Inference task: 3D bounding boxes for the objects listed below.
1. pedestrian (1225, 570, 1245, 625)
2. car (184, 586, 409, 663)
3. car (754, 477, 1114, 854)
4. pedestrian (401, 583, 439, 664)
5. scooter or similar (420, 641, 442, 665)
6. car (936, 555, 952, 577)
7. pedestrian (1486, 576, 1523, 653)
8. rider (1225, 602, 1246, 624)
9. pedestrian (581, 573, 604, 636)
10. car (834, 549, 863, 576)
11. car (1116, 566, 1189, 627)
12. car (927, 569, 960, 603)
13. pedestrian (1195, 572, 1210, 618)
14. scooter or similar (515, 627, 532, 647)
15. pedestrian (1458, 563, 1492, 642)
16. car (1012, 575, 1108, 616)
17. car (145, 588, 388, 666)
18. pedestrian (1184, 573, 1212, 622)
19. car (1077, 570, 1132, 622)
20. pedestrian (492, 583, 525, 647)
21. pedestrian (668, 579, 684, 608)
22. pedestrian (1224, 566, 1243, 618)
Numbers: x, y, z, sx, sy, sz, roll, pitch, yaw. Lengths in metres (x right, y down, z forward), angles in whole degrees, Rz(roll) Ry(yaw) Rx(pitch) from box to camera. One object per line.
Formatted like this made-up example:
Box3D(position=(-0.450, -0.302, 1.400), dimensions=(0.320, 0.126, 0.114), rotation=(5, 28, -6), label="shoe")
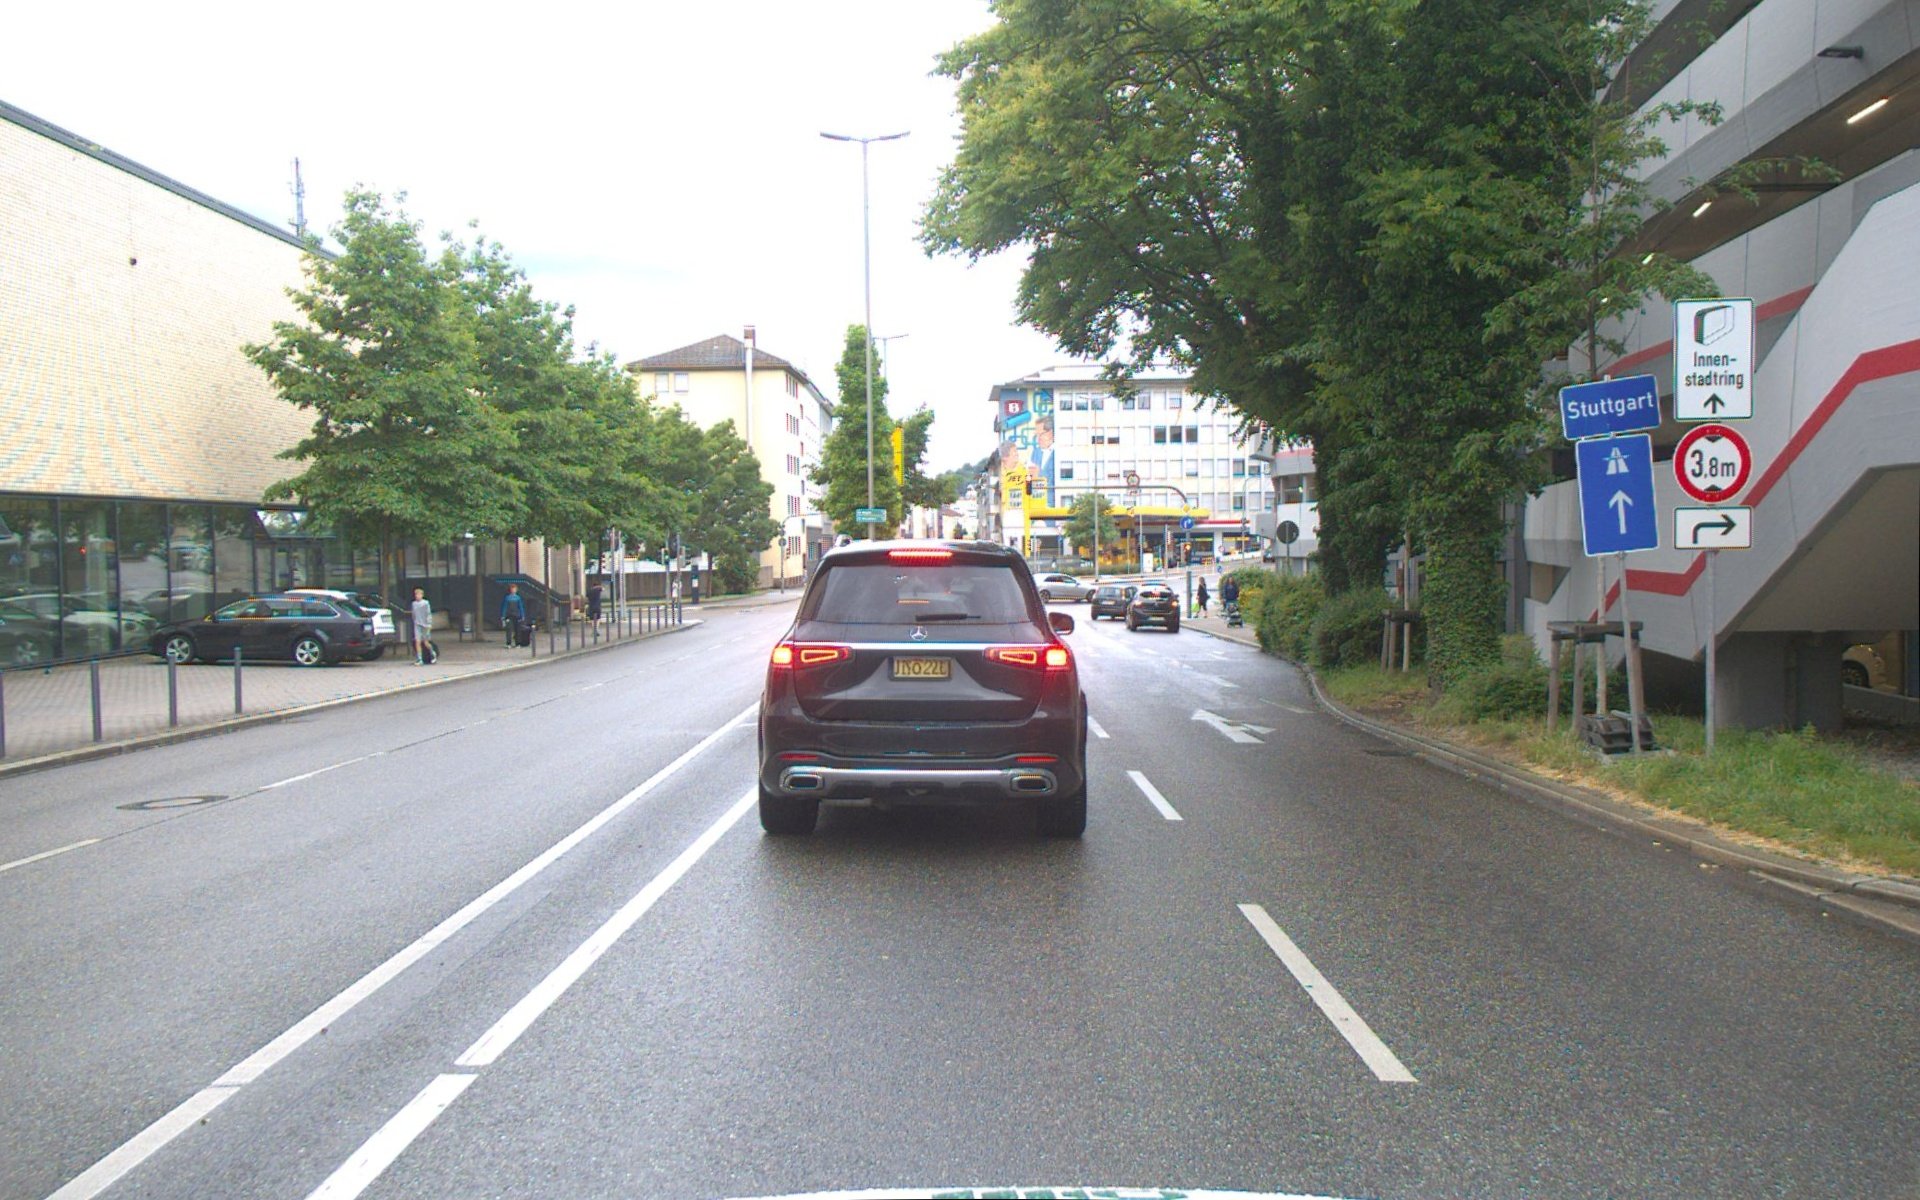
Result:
Box3D(position=(9.756, -0.091, 58.638), dimensions=(0.648, 1.951, 0.729), rotation=(1, 1, 8), label="pedestrian")
Box3D(position=(-14.926, 0.544, 37.431), dimensions=(4.331, 1.601, 1.998), rotation=(1, 2, -7), label="car")
Box3D(position=(-0.181, 0.372, 11.142), dimensions=(1.953, 2.049, 3.999), rotation=(1, 0, -1), label="car")
Box3D(position=(-11.829, 0.506, 36.227), dimensions=(0.662, 1.726, 0.479), rotation=(1, 3, 0), label="pedestrian")
Box3D(position=(-11.727, 1.181, 36.670), dimensions=(0.274, 0.509, 0.616), rotation=(1, 0, 1), label="scooter or similar")
Box3D(position=(-2.066, -4.338, 207.957), dimensions=(1.953, 2.045, 4.007), rotation=(1, 11, -1), label="car")
Box3D(position=(10.880, 0.285, 33.044), dimensions=(0.569, 1.527, 0.504), rotation=(1, -1, 4), label="pedestrian")
Box3D(position=(9.642, 0.471, 57.943), dimensions=(0.679, 0.753, 0.633), rotation=(1, 0, 8), label="rider")
Box3D(position=(-12.103, 0.152, 54.431), dimensions=(0.576, 2.049, 0.749), rotation=(1, -1, -2), label="pedestrian")
Box3D(position=(-8.415, -2.806, 125.362), dimensions=(1.953, 1.908, 5.140), rotation=(1, 0, -2), label="car")
Box3D(position=(6.673, -0.143, 57.759), dimensions=(1.953, 2.049, 3.999), rotation=(0, 1, -2), label="car")
Box3D(position=(-1.053, -0.854, 104.180), dimensions=(1.953, 2.049, 3.998), rotation=(1, 0, -3), label="car")
Box3D(position=(10.224, -0.208, 69.698), dimensions=(0.509, 1.944, 0.556), rotation=(1, -1, 0), label="pedestrian")
Box3D(position=(-12.159, 1.034, 46.077), dimensions=(0.352, 0.545, 0.499), rotation=(1, -1, -1), label="scooter or similar")
Box3D(position=(10.312, 0.059, 33.116), dimensions=(0.539, 1.559, 0.488), rotation=(1, -1, 6), label="pedestrian")
Box3D(position=(5.166, -0.241, 85.714), dimensions=(4.714, 2.049, 1.997), rotation=(-1, 1, -8), label="car")
Box3D(position=(-14.725, 0.555, 35.344), dimensions=(4.382, 1.615, 1.997), rotation=(0, 0, -7), label="car")
Box3D(position=(10.077, -0.112, 70.162), dimensions=(1.004, 2.049, 0.999), rotation=(1, 0, -1), label="pedestrian")
Box3D(position=(5.997, -0.150, 69.247), dimensions=(1.952, 2.049, 4.000), rotation=(1, 0, 0), label="car")
Box3D(position=(-12.465, 0.423, 45.707), dimensions=(0.674, 1.756, 0.754), rotation=(1, -3, -1), label="pedestrian")
Box3D(position=(-15.110, -0.338, 88.031), dimensions=(0.697, 1.487, 0.598), rotation=(1, -1, -1), label="pedestrian")
Box3D(position=(10.468, -0.297, 63.299), dimensions=(0.607, 1.969, 0.610), rotation=(1, -1, -1), label="pedestrian")
